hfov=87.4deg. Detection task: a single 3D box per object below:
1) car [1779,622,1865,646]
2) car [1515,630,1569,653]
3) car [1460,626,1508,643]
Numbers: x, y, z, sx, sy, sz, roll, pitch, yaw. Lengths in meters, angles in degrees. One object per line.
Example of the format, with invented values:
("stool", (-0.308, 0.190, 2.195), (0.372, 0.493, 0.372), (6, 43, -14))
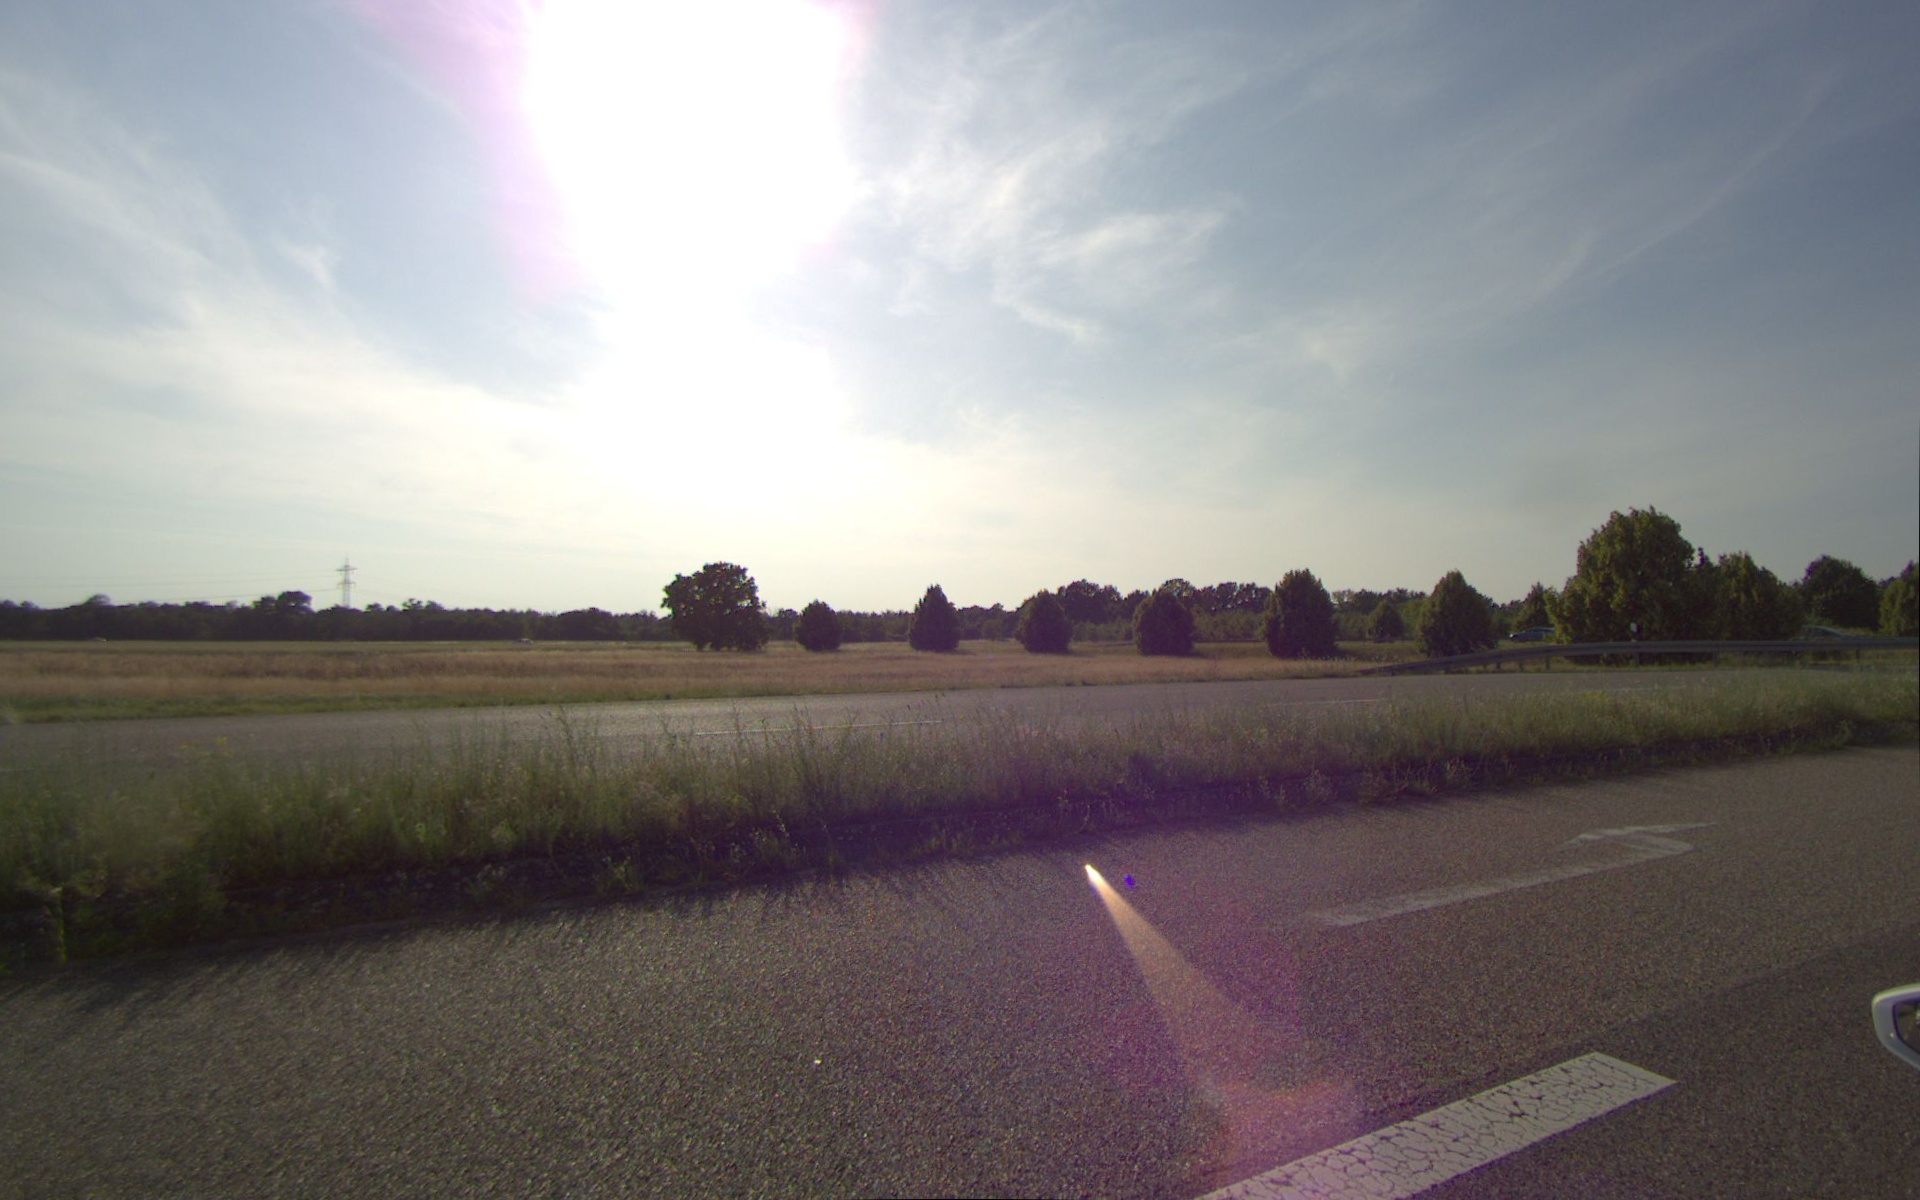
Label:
("car", (63.369, 2.454, 73.943), (1.789, 1.586, 4.508), (1, 0, -21))
("car", (56.125, 3.991, 96.928), (1.978, 2.040, 3.965), (2, 0, -31))
("car", (55.203, 3.632, 105.855), (1.981, 1.689, 3.960), (2, 0, -35))
